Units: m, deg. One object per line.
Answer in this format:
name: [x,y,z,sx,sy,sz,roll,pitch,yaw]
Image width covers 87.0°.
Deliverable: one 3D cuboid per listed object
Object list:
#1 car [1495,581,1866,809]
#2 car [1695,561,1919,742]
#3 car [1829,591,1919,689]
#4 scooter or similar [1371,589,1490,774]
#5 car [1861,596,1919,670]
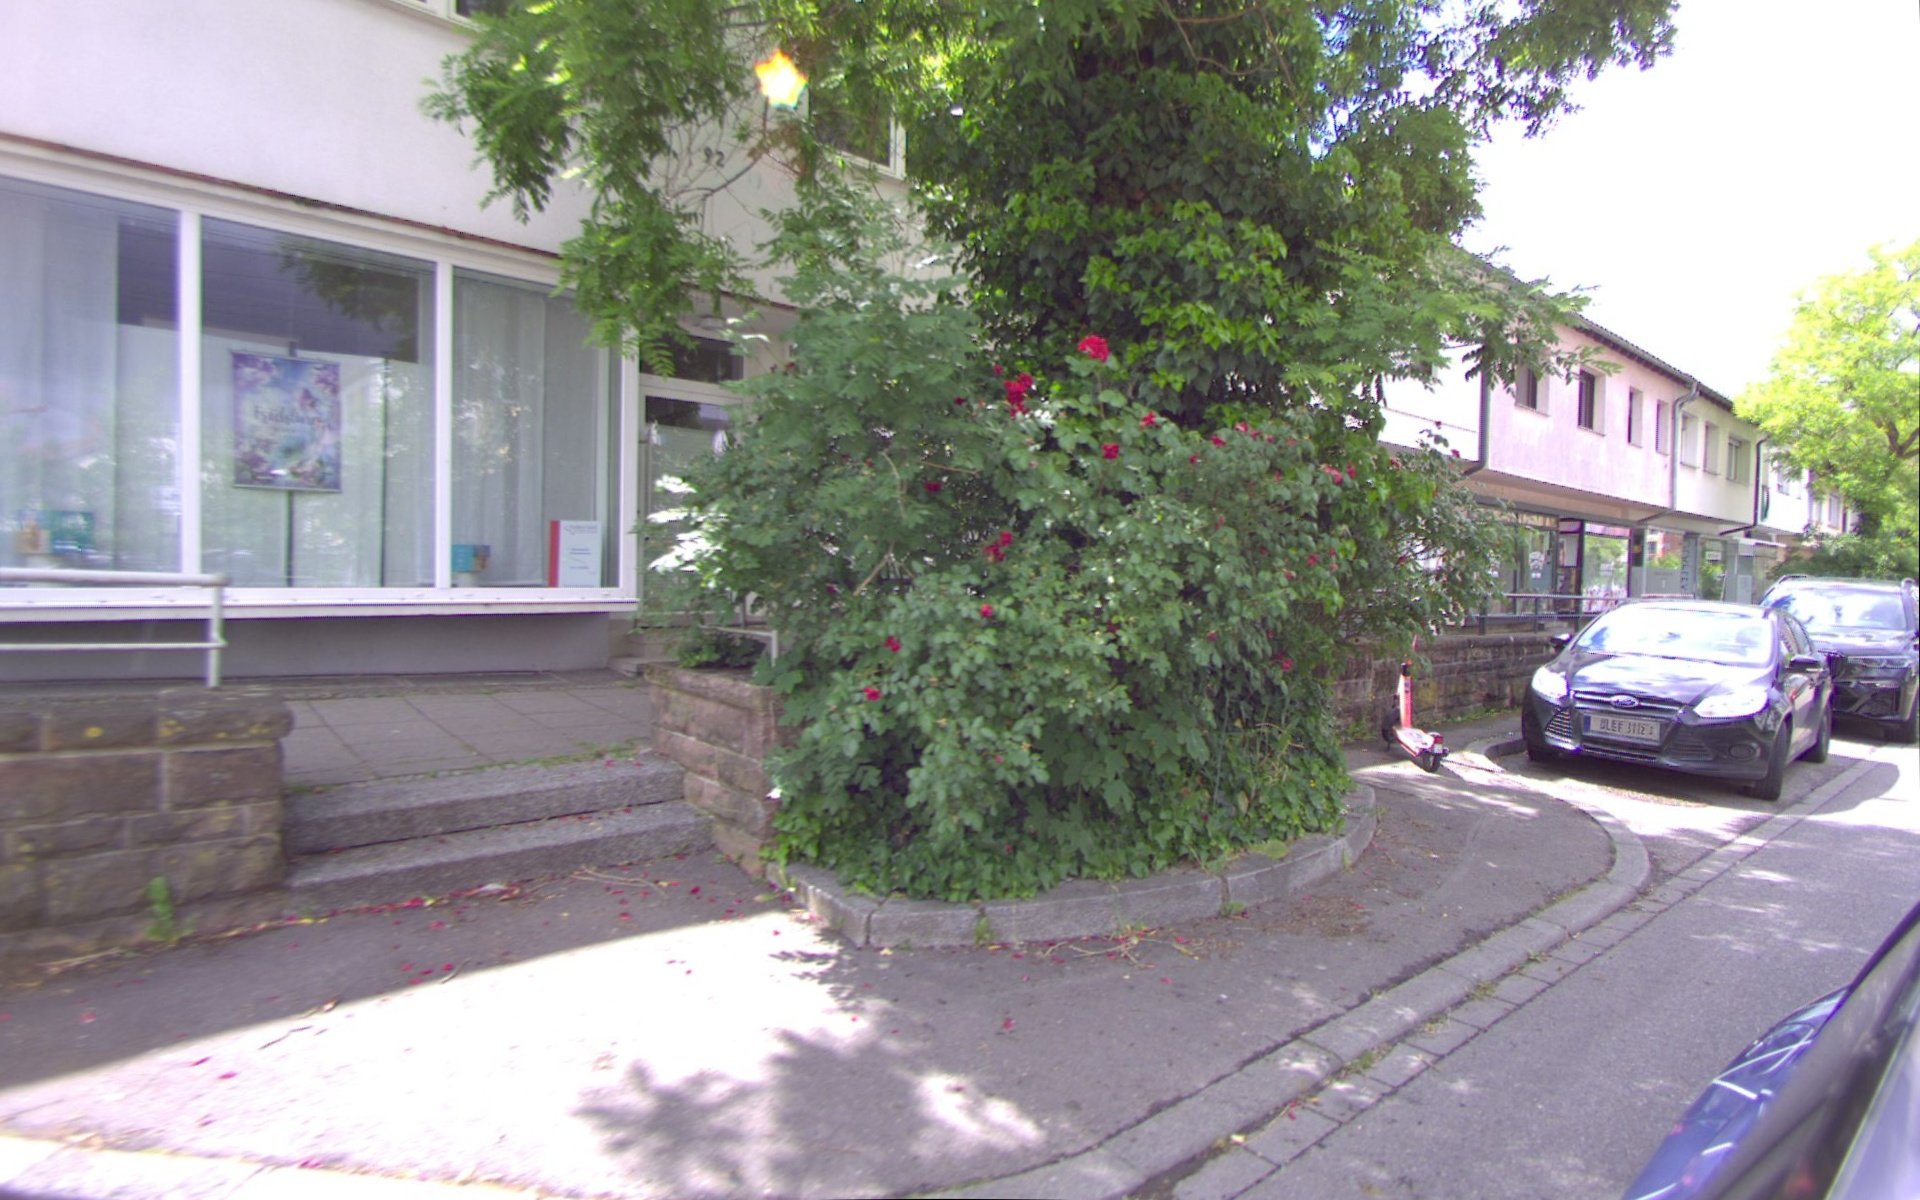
car: [6.586,0.637,9.067,4.170,1.524,1.837,0,2,-42]
car: [11.136,0.495,12.619,4.986,1.810,2.020,0,2,-40]
car: [16.246,0.629,17.209,3.834,1.459,1.774,0,4,-44]
scooter or similar: [3.535,0.558,7.685,0.528,1.258,1.231,2,1,13]
car: [20.111,0.668,20.690,3.927,1.365,1.777,0,4,-38]
